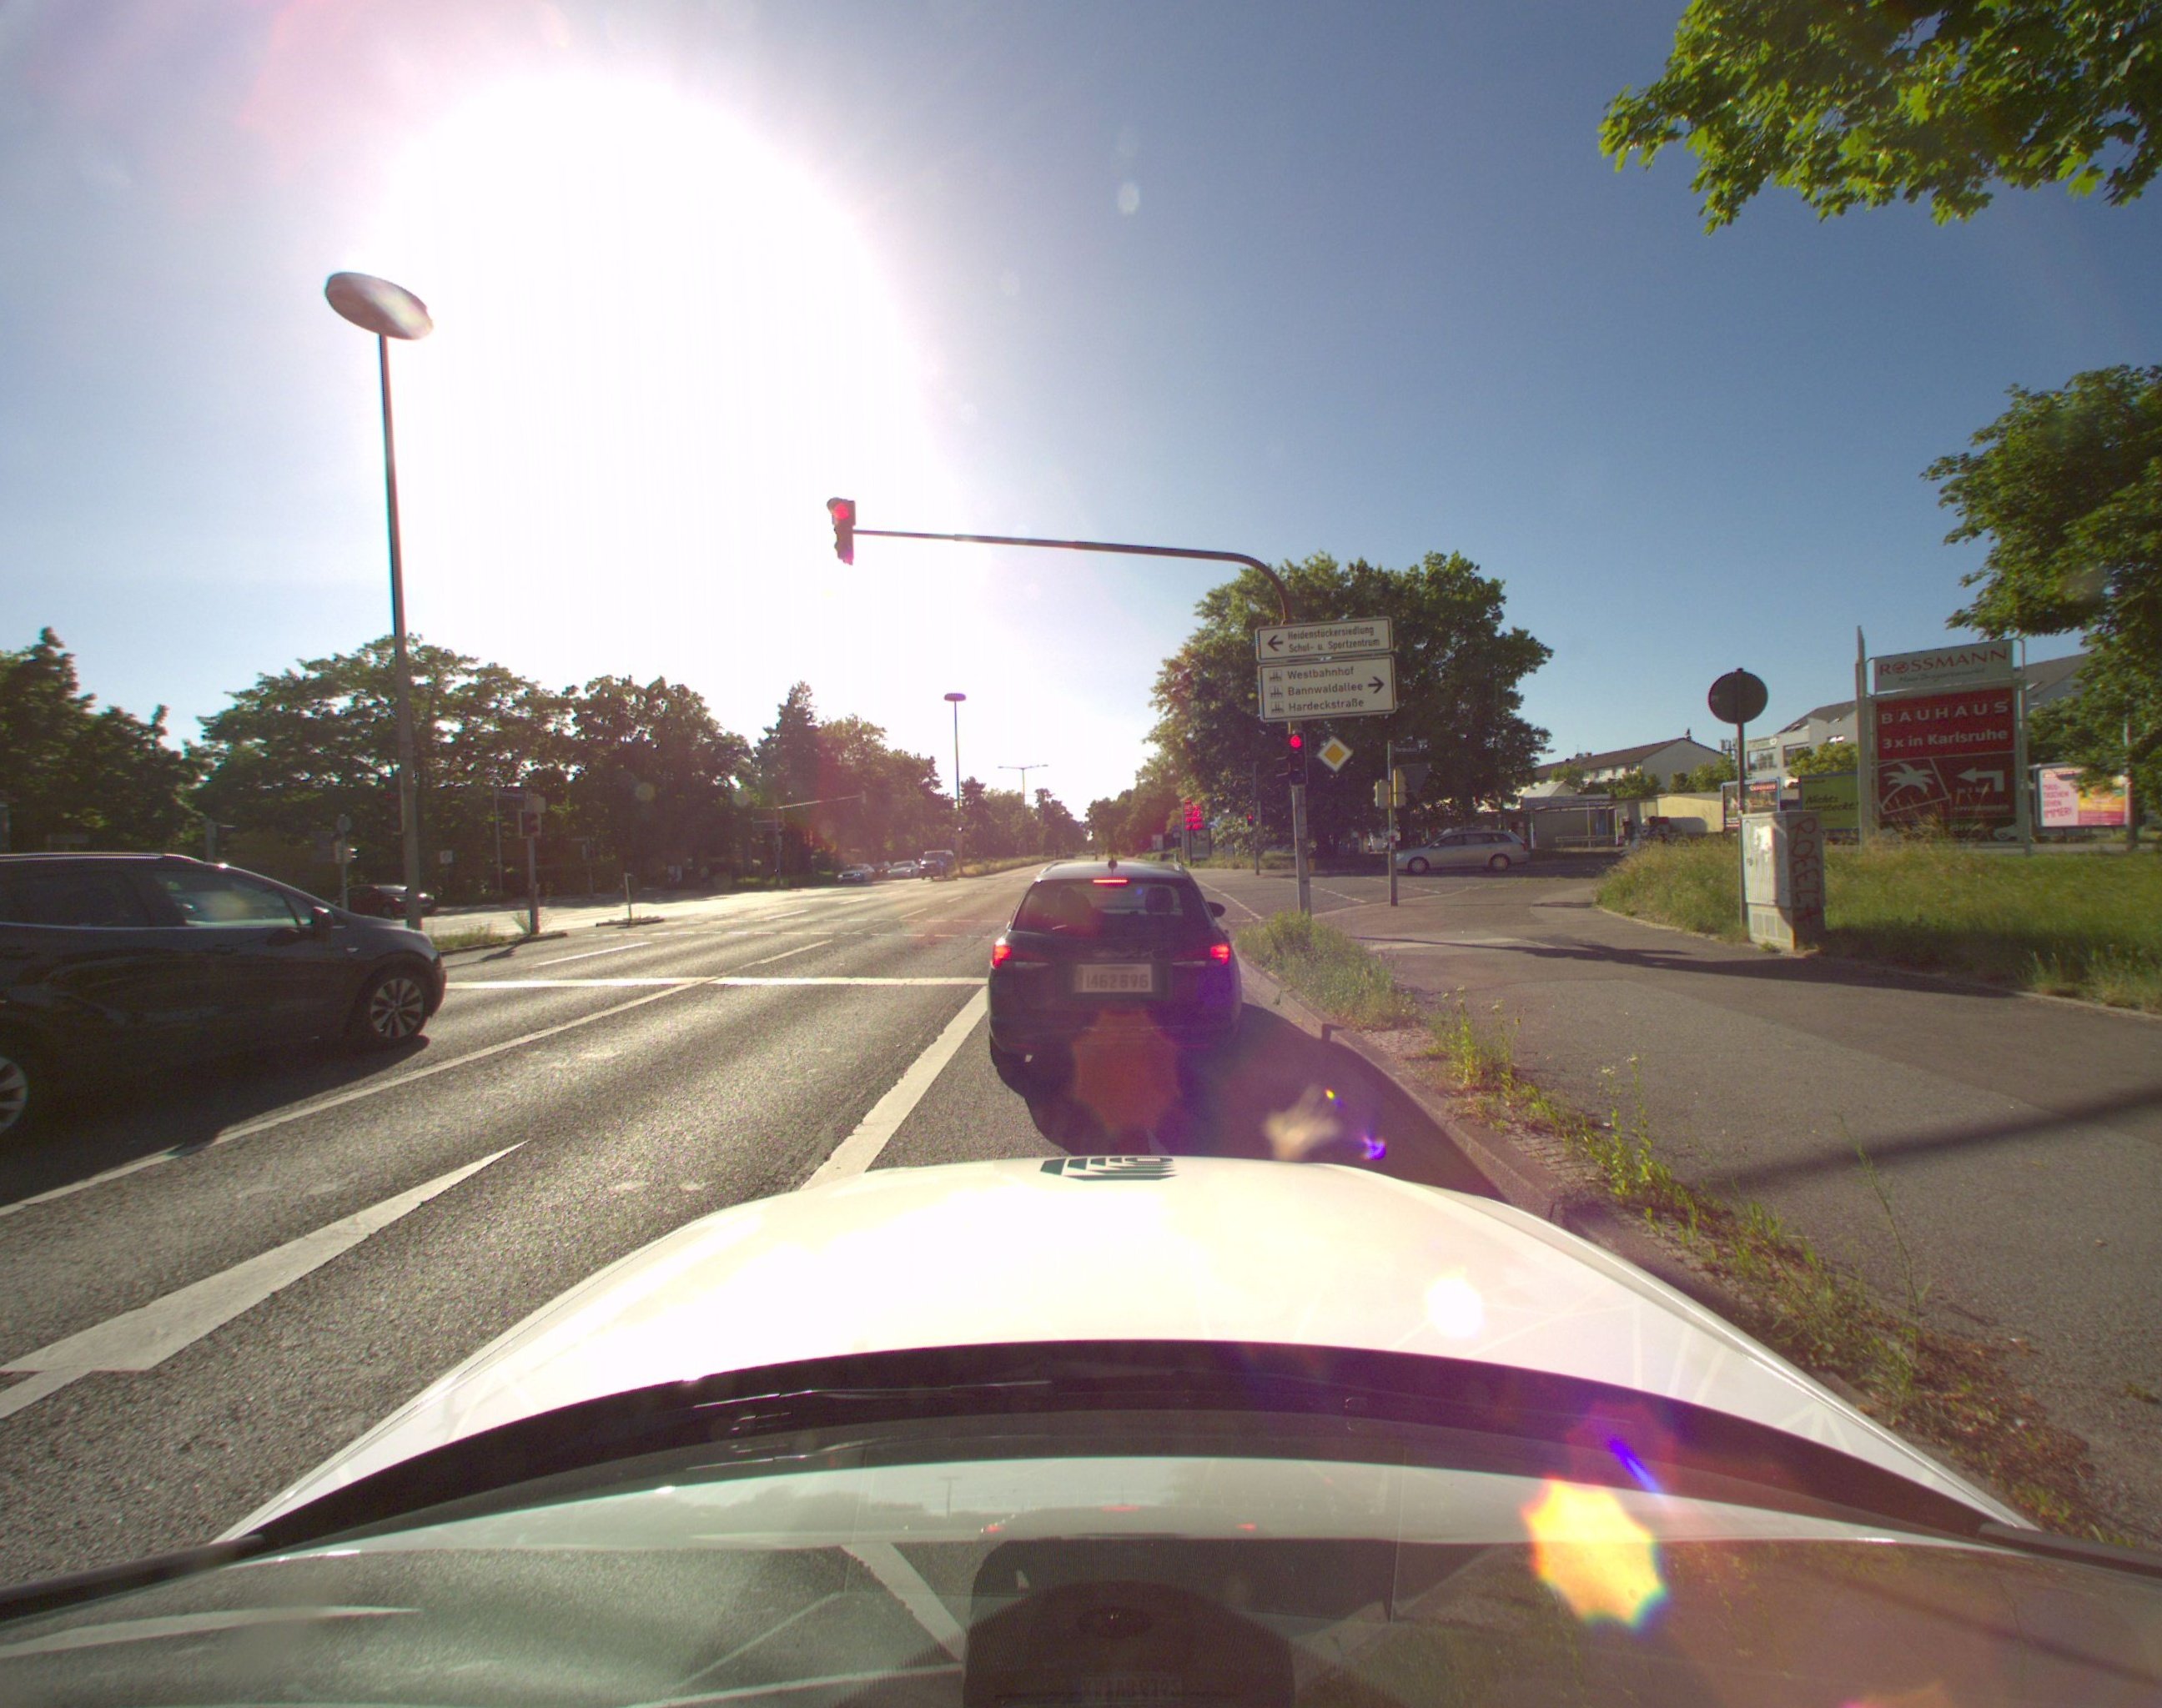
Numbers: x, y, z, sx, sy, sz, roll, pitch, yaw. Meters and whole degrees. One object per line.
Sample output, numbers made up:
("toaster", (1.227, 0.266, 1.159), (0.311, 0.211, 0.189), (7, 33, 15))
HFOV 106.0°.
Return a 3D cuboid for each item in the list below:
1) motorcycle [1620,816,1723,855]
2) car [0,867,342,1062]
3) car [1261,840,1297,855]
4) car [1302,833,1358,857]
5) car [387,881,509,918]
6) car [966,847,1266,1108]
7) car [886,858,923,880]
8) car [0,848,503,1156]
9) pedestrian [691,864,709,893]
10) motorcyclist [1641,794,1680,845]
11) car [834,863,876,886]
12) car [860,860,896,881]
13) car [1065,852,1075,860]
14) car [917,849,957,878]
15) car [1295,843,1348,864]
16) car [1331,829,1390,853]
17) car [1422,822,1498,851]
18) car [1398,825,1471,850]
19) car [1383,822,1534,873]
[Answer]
("motorcycle", (19.999, -0.611, 27.645), (2.703, 1.270, 0.838), (0, -1, 17))
("car", (-10.010, 0.985, 7.920), (1.778, 1.610, 4.107), (-2, 0, 2))
("car", (22.307, -0.686, 91.863), (3.701, 1.685, 1.703), (0, -1, -1))
("car", (17.946, -0.596, 58.753), (3.729, 1.685, 1.690), (0, -1, -25))
("car", (-26.307, 1.864, 33.894), (3.892, 1.423, 1.876), (0, -1, 12))
("car", (0.260, 0.751, 6.751), (1.749, 1.509, 3.810), (-1, -1, 1))
("car", (-13.828, 1.160, 64.055), (1.857, 1.684, 4.002), (-2, -1, 2))
("car", (-6.558, 0.818, 5.723), (1.689, 1.632, 4.419), (-2, 0, 2))
("pedestrian", (-24.973, 1.578, 53.383), (0.841, 1.835, 0.550), (-3, 0, 5))
("motorcyclist", (19.729, -1.156, 27.736), (0.853, 1.680, 0.838), (0, -1, 18))
("car", (-17.267, 1.522, 62.433), (1.857, 1.684, 4.262), (0, 0, 2))
("car", (-17.473, 1.394, 70.309), (1.986, 1.750, 4.001), (-1, 0, 2))
("car", (-2.194, 0.391, 167.746), (1.881, 1.552, 4.001), (-2, -1, 2))
("car", (-10.260, 0.700, 58.296), (1.986, 2.014, 4.001), (0, 0, 2))
("car", (19.052, -0.046, 64.675), (3.701, 1.685, 1.703), (0, -1, -1))
("car", (19.388, -0.860, 56.443), (3.860, 1.563, 1.787), (0, -1, -31))
("car", (22.140, -1.023, 47.636), (3.846, 1.612, 1.794), (0, -1, -18))
("car", (21.414, -0.973, 49.411), (3.846, 1.482, 1.794), (0, -1, -18))
("car", (13.423, -0.203, 29.267), (4.586, 1.574, 2.007), (-2, -1, 13))
